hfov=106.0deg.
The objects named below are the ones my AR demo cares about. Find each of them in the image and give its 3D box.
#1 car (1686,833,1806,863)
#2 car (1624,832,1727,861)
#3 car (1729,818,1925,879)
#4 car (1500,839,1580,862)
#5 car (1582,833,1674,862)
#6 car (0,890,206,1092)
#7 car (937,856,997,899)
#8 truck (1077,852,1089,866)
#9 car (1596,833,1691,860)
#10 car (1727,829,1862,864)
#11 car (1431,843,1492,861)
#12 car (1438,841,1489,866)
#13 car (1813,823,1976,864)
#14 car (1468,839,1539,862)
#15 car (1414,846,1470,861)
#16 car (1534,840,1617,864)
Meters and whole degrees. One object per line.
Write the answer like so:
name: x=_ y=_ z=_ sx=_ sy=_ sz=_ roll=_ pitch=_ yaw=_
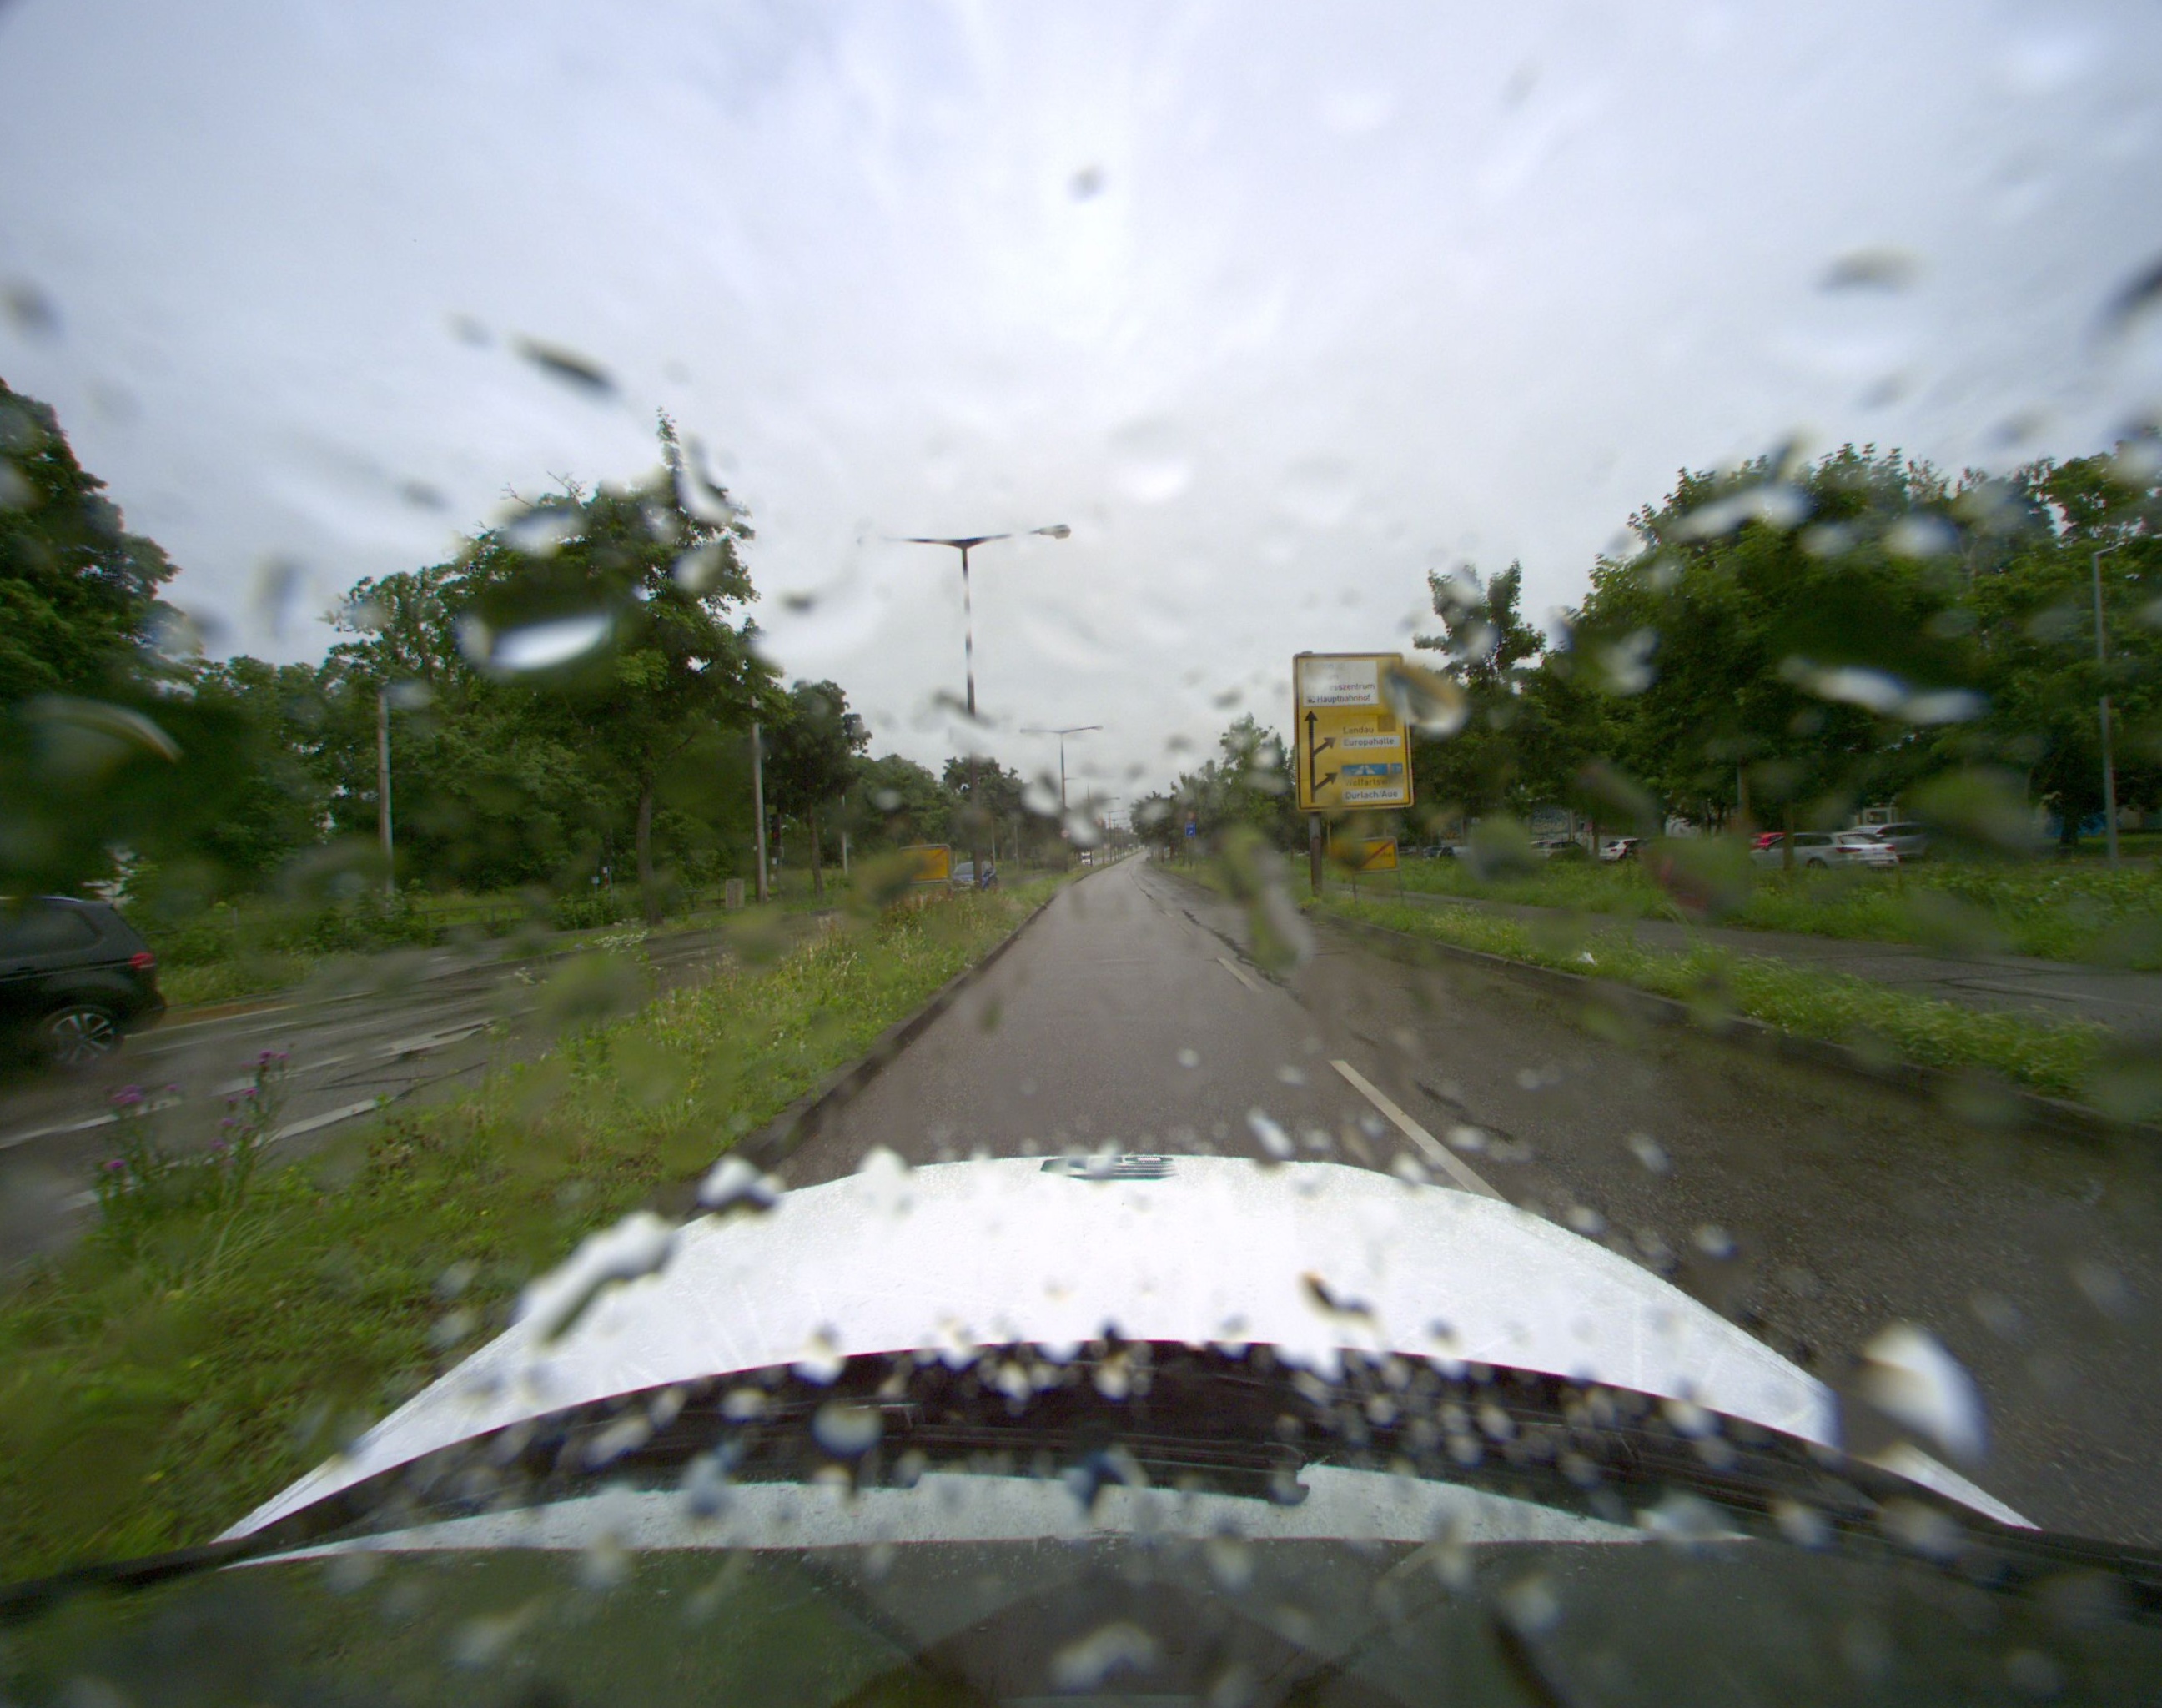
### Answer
car: x=31.432 y=-0.278 z=38.561 sx=4.166 sy=1.340 sz=1.867 roll=0 pitch=-1 yaw=0
car: x=31.424 y=-0.403 z=43.150 sx=4.114 sy=1.460 sz=1.791 roll=0 pitch=-1 yaw=2
car: x=22.925 y=-0.124 z=25.337 sx=1.985 sy=1.625 sz=4.646 roll=-3 pitch=-1 yaw=4
car: x=32.759 y=-0.261 z=58.244 sx=4.545 sy=1.558 sz=1.949 roll=-1 pitch=-1 yaw=6
car: x=33.048 y=-0.376 z=49.292 sx=4.320 sy=1.725 sz=1.945 roll=0 pitch=-1 yaw=0
car: x=-10.122 y=1.250 z=6.283 sx=1.698 sy=1.641 sz=4.339 roll=-4 pitch=0 yaw=7
car: x=-4.931 y=0.967 z=35.688 sx=1.737 sy=1.650 sz=4.139 roll=-5 pitch=0 yaw=3
truck: x=0.518 y=1.079 z=168.130 sx=2.130 sy=2.843 sz=5.076 roll=-4 pitch=-1 yaw=2
car: x=31.843 y=-0.407 z=46.192 sx=4.175 sy=1.484 sz=1.760 roll=0 pitch=-1 yaw=0
car: x=31.503 y=-0.310 z=36.057 sx=4.320 sy=1.484 sz=1.945 roll=0 pitch=-1 yaw=0
car: x=33.971 y=-0.165 z=72.805 sx=4.558 sy=1.547 sz=1.861 roll=0 pitch=-1 yaw=-2
car: x=24.982 y=-0.056 z=53.388 sx=1.736 sy=1.445 sz=4.129 roll=-3 pitch=1 yaw=6
car: x=30.884 y=-0.369 z=31.021 sx=4.320 sy=1.503 sz=1.924 roll=0 pitch=-1 yaw=0
car: x=33.116 y=-0.271 z=63.885 sx=4.555 sy=1.705 sz=1.999 roll=0 pitch=-1 yaw=-1
car: x=33.639 y=-0.011 z=75.952 sx=4.387 sy=1.334 sz=1.836 roll=0 pitch=-1 yaw=-2
car: x=32.629 y=-0.113 z=53.828 sx=4.320 sy=1.558 sz=1.945 roll=0 pitch=-1 yaw=0
